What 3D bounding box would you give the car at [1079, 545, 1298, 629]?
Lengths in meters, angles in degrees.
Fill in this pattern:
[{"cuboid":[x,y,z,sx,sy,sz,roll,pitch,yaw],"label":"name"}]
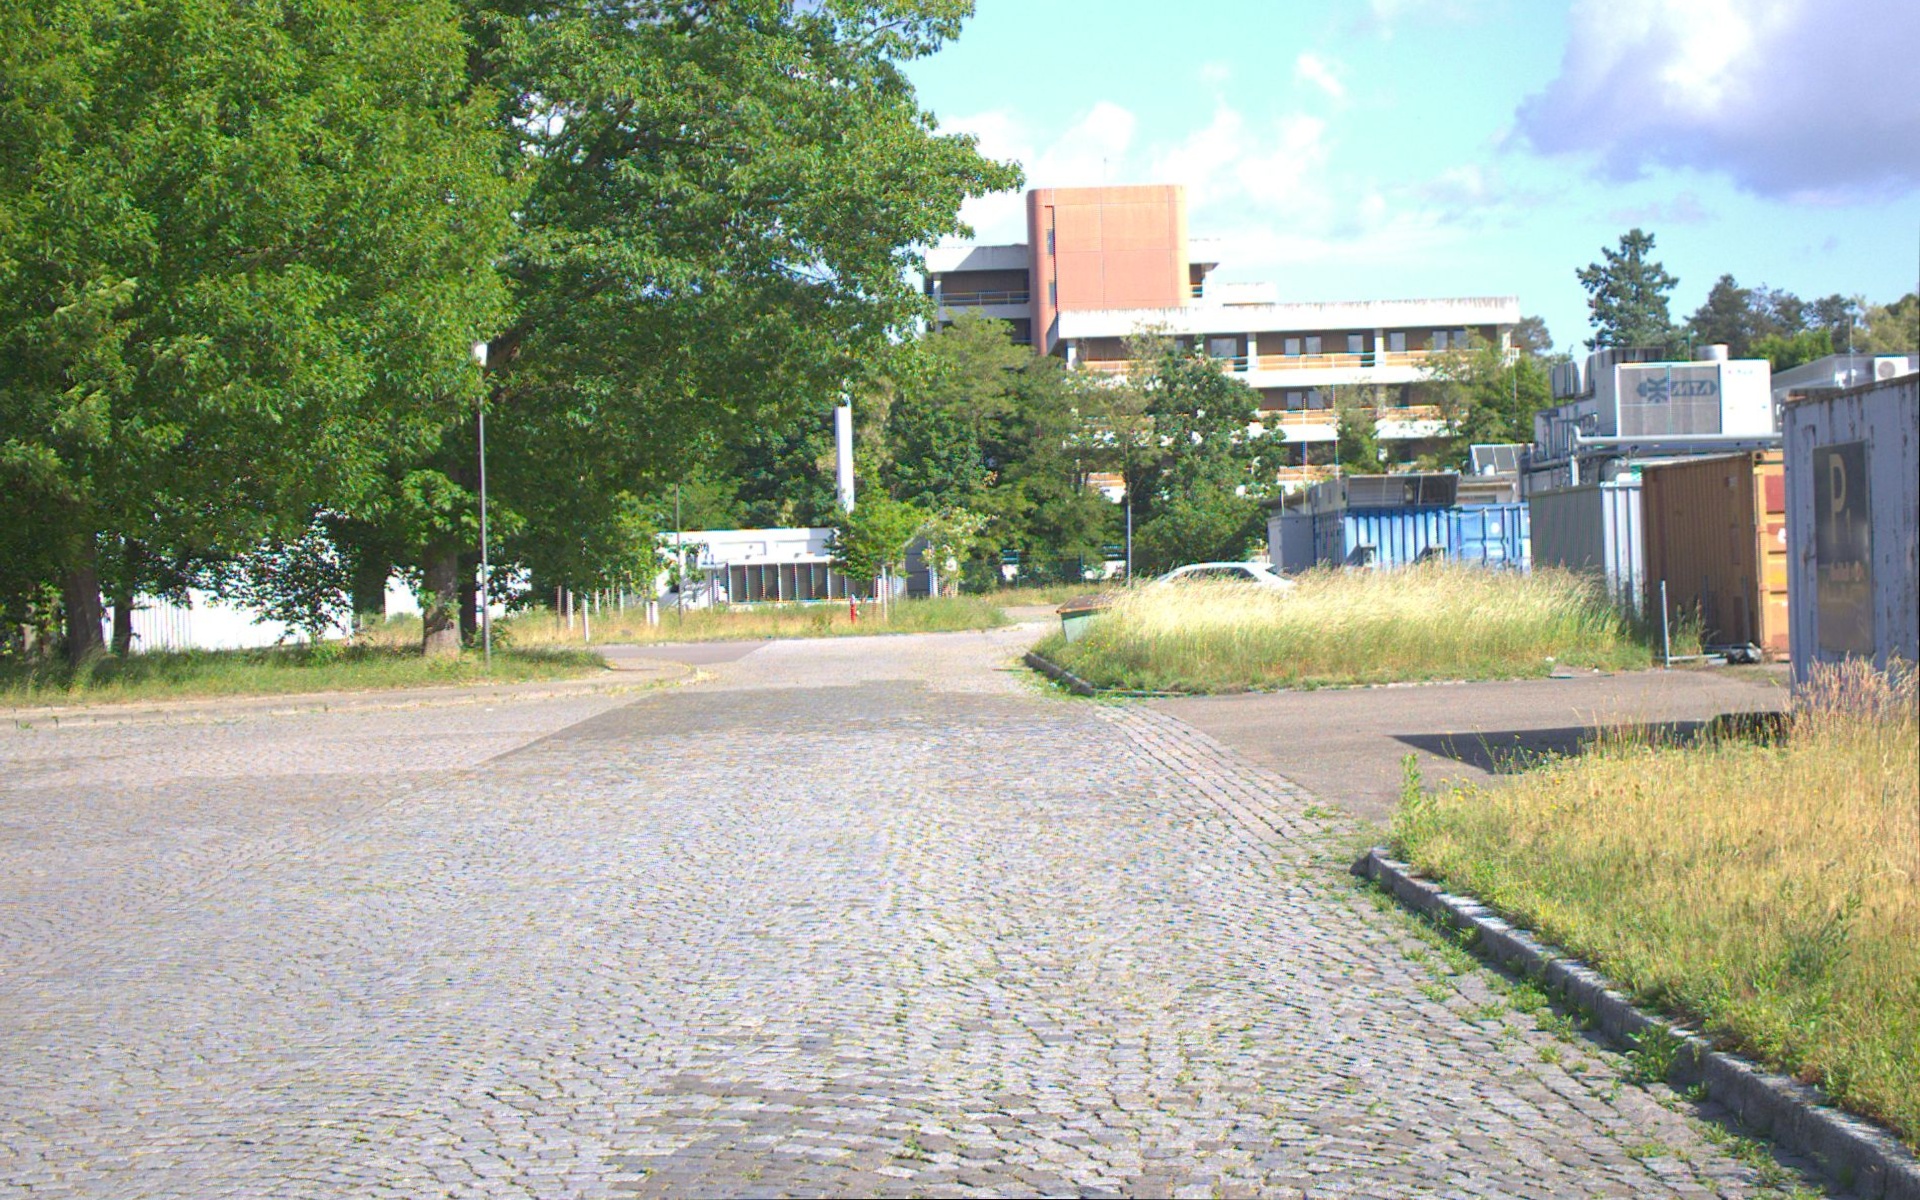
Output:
[{"cuboid":[4.949,-0.281,74.912,4.504,1.642,2.000,-2,1,-2],"label":"car"}]
